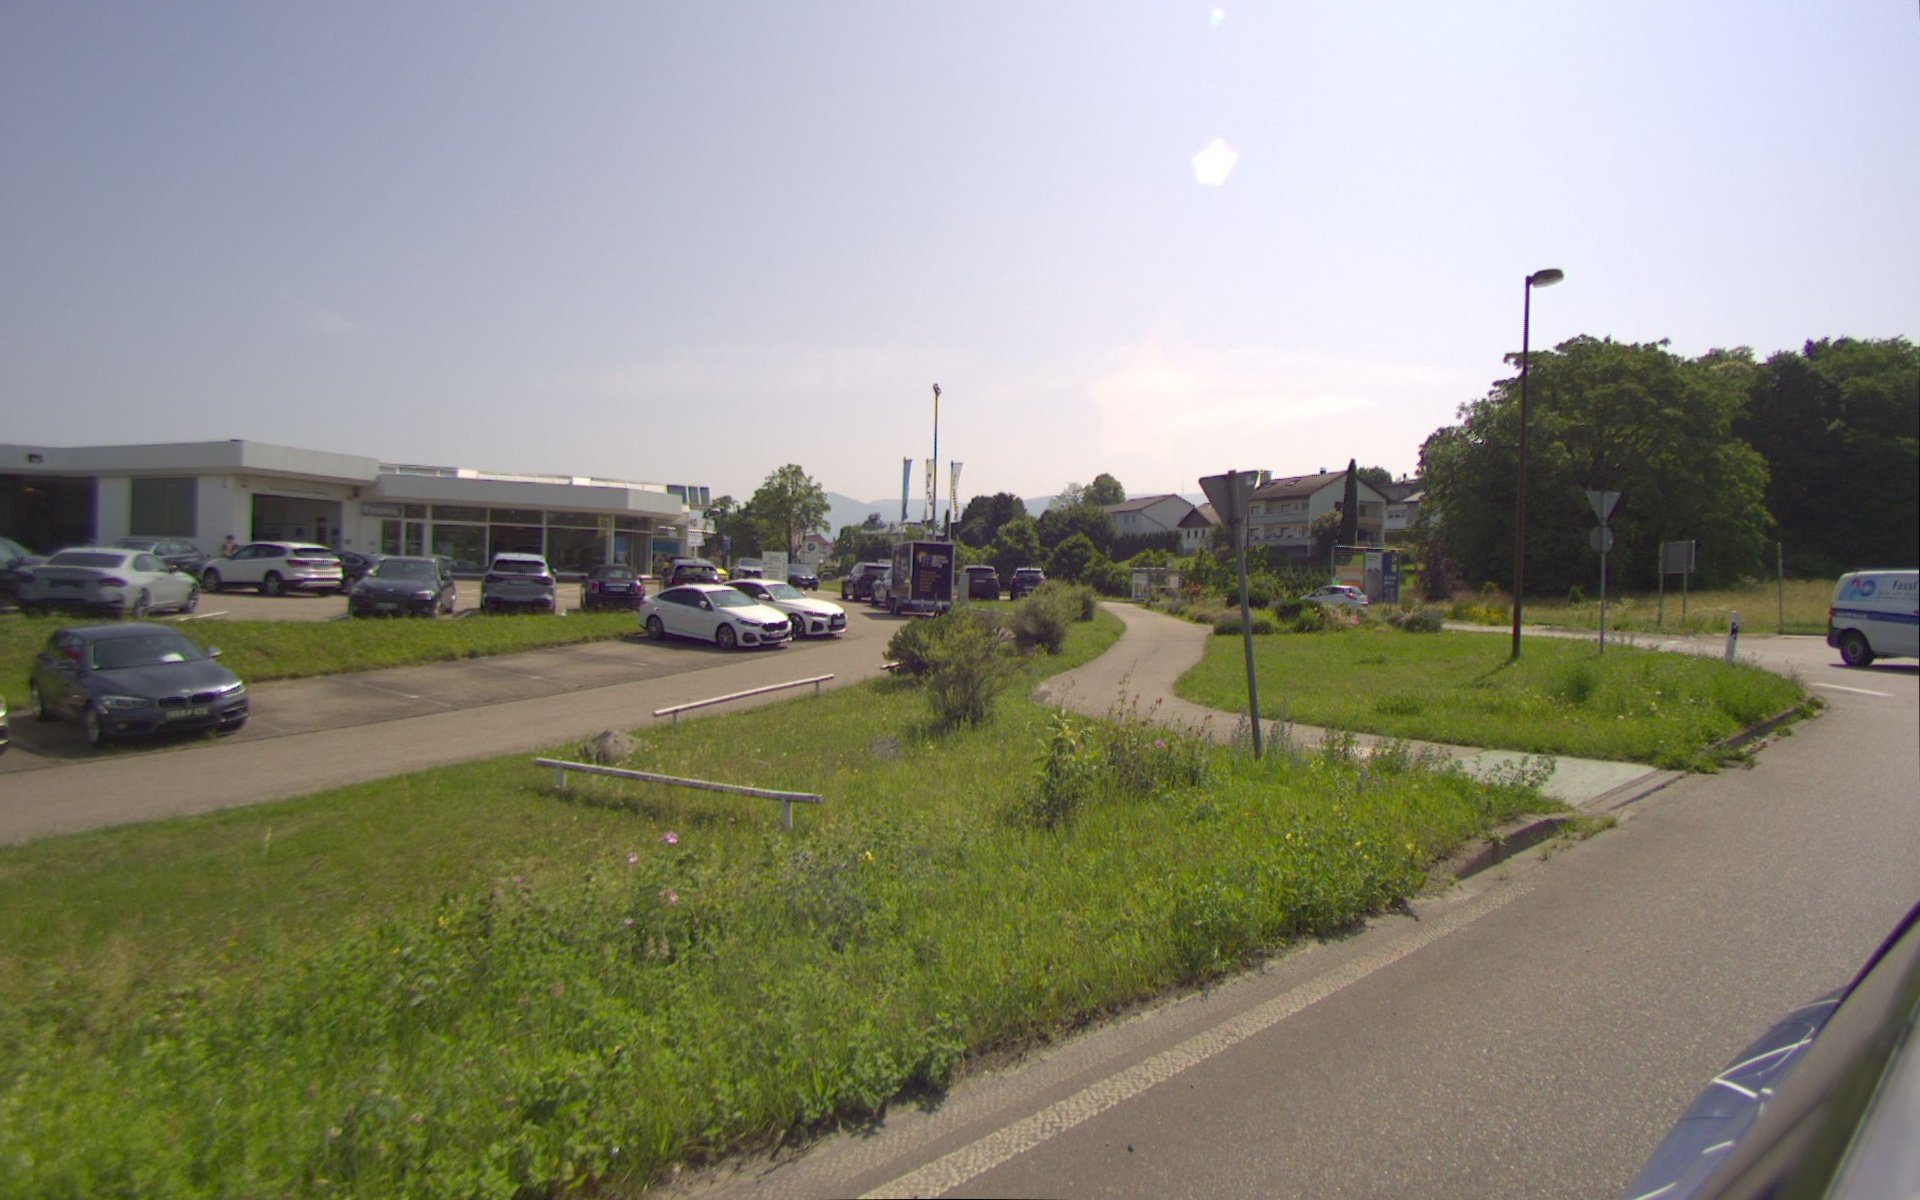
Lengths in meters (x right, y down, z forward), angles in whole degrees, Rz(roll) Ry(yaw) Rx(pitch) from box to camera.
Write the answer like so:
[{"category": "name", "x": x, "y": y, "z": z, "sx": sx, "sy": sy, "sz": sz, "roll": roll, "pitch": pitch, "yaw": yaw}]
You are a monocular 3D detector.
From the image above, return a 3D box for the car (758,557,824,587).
[{"category": "car", "x": -11.617, "y": -1.921, "z": 69.387, "sx": 4.172, "sy": 2.039, "sz": 2.004, "roll": -1, "pitch": 1, "yaw": -20}]

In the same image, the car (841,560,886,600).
[{"category": "car", "x": -4.346, "y": -0.927, "z": 46.093, "sx": 1.872, "sy": 1.701, "sz": 3.823, "roll": 1, "pitch": 2, "yaw": -3}]

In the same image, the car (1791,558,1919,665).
[{"category": "car", "x": 18.518, "y": 0.207, "z": 18.293, "sx": 1.821, "sy": 1.962, "sz": 5.242, "roll": -1, "pitch": 1, "yaw": -18}]

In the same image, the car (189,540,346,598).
[{"category": "car", "x": -21.070, "y": -0.972, "z": 30.813, "sx": 4.208, "sy": 1.605, "sz": 1.650, "roll": 2, "pitch": 2, "yaw": 15}]

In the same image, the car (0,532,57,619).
[{"category": "car", "x": -19.399, "y": -0.485, "z": 19.305, "sx": 1.909, "sy": 1.655, "sz": 4.478, "roll": 0, "pitch": 2, "yaw": -23}]

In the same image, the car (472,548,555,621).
[{"category": "car", "x": -12.132, "y": -0.480, "z": 27.575, "sx": 1.909, "sy": 1.771, "sz": 4.019, "roll": 1, "pitch": 3, "yaw": -23}]

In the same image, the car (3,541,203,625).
[{"category": "car", "x": -17.318, "y": -0.386, "z": 20.733, "sx": 1.909, "sy": 1.518, "sz": 4.478, "roll": 1, "pitch": 2, "yaw": -23}]

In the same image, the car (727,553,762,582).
[{"category": "car", "x": -12.985, "y": -1.946, "z": 60.920, "sx": 1.548, "sy": 1.675, "sz": 3.706, "roll": -1, "pitch": 1, "yaw": -20}]

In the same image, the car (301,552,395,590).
[{"category": "car", "x": -20.078, "y": -0.961, "z": 33.181, "sx": 2.936, "sy": 1.123, "sz": 1.608, "roll": 3, "pitch": 2, "yaw": 36}]

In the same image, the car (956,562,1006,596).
[{"category": "car", "x": 1.070, "y": -1.051, "z": 48.956, "sx": 1.878, "sy": 1.531, "sz": 4.366, "roll": 2, "pitch": 2, "yaw": 8}]

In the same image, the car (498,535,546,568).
[{"category": "car", "x": -22.622, "y": -2.488, "z": 52.387, "sx": 1.869, "sy": 1.605, "sz": 4.051, "roll": 1, "pitch": 2, "yaw": -18}]

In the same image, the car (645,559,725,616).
[{"category": "car", "x": -8.974, "y": -0.477, "z": 32.773, "sx": 1.909, "sy": 1.517, "sz": 4.438, "roll": -1, "pitch": 5, "yaw": -23}]

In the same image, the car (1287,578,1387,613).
[{"category": "car", "x": 18.587, "y": -0.184, "z": 50.060, "sx": 2.087, "sy": 1.636, "sz": 4.200, "roll": 2, "pitch": -1, "yaw": -33}]

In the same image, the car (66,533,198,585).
[{"category": "car", "x": -26.987, "y": -1.349, "z": 33.174, "sx": 1.908, "sy": 1.541, "sz": 4.479, "roll": 1, "pitch": 2, "yaw": -19}]

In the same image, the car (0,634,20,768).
[{"category": "car", "x": -14.117, "y": 1.206, "z": 13.317, "sx": 4.552, "sy": 1.584, "sz": 1.897, "roll": 4, "pitch": 6, "yaw": 39}]

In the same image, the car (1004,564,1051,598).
[{"category": "car", "x": 3.332, "y": -0.970, "z": 49.293, "sx": 1.878, "sy": 1.531, "sz": 4.366, "roll": 2, "pitch": 2, "yaw": 8}]

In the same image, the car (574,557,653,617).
[{"category": "car", "x": -10.505, "y": -0.434, "z": 30.543, "sx": 1.909, "sy": 1.518, "sz": 4.019, "roll": 2, "pitch": 3, "yaw": -23}]

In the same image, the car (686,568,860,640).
[{"category": "car", "x": -5.203, "y": 0.060, "z": 28.072, "sx": 4.623, "sy": 1.589, "sz": 1.752, "roll": 5, "pitch": 3, "yaw": 27}]

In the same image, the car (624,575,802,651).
[{"category": "car", "x": -6.292, "y": 0.251, "z": 25.592, "sx": 4.545, "sy": 1.589, "sz": 1.748, "roll": 3, "pitch": 4, "yaw": 33}]

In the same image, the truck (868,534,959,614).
[{"category": "truck", "x": -1.826, "y": -1.002, "z": 37.678, "sx": 1.908, "sy": 2.697, "sz": 5.641, "roll": 1, "pitch": 2, "yaw": -18}]

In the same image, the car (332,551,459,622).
[{"category": "car", "x": -13.529, "y": -0.369, "z": 24.505, "sx": 1.908, "sy": 1.545, "sz": 4.019, "roll": 1, "pitch": 2, "yaw": -18}]

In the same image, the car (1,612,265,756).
[{"category": "car", "x": -12.312, "y": 1.103, "z": 14.993, "sx": 4.543, "sy": 1.438, "sz": 1.763, "roll": 4, "pitch": 6, "yaw": 34}]

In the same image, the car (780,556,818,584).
[{"category": "car", "x": -9.788, "y": -1.807, "z": 61.283, "sx": 1.548, "sy": 1.675, "sz": 3.706, "roll": -1, "pitch": 1, "yaw": -20}]
